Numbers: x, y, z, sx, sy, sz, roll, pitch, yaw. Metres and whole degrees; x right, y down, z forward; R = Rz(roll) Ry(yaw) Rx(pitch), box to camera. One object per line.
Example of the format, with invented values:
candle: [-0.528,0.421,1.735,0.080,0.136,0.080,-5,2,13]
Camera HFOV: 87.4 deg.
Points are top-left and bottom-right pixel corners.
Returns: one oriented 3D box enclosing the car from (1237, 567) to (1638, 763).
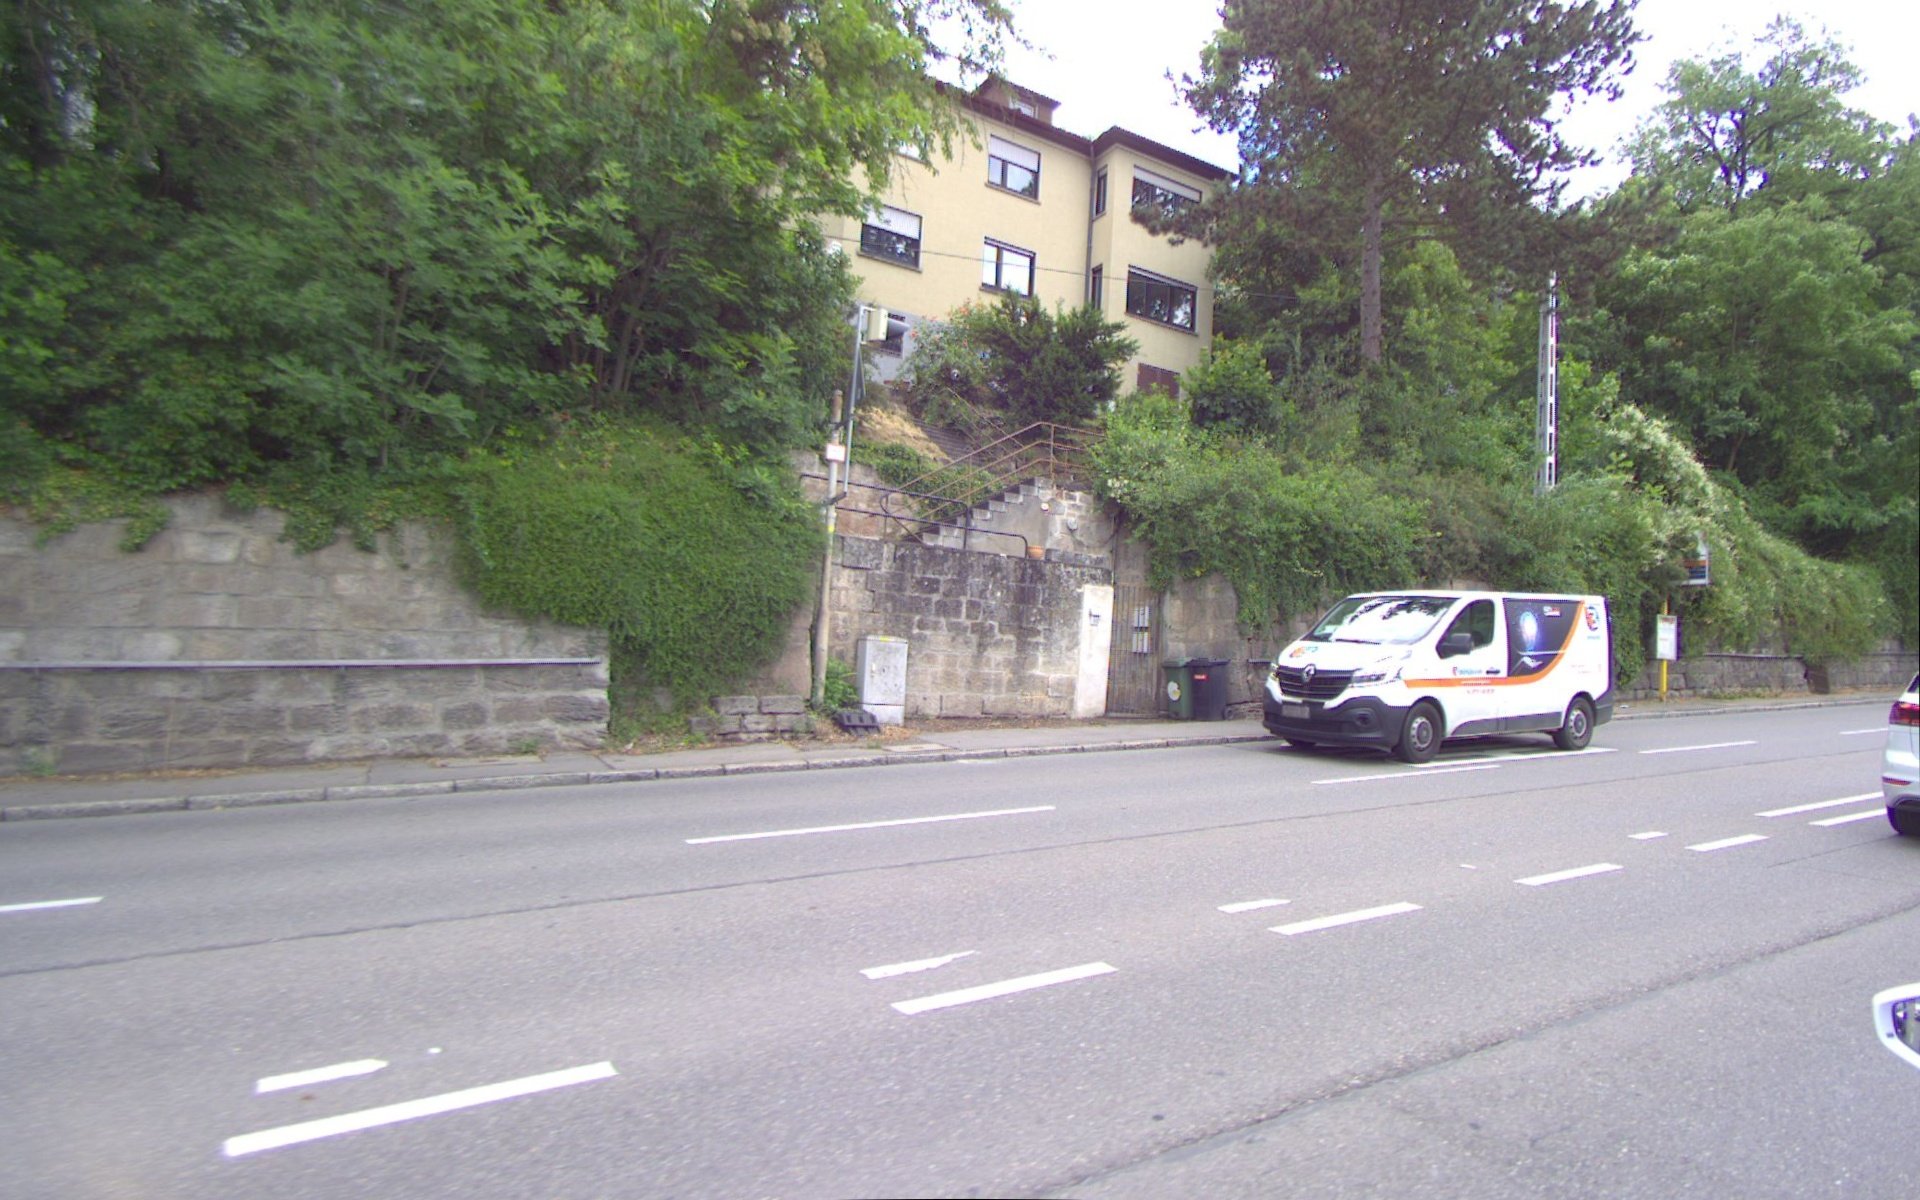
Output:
car: [6.100,0.768,12.617,5.292,2.031,1.912,2,-2,-30]

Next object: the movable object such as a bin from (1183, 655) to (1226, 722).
movable object such as a bin: [3.599,1.295,14.807,0.362,0.948,0.476,2,0,-34]

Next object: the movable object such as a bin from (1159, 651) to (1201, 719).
movable object such as a bin: [3.331,1.277,15.234,0.364,0.984,0.474,2,0,-34]

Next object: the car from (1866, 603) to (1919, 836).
car: [8.603,0.864,7.405,4.226,1.575,1.711,2,-1,-31]
